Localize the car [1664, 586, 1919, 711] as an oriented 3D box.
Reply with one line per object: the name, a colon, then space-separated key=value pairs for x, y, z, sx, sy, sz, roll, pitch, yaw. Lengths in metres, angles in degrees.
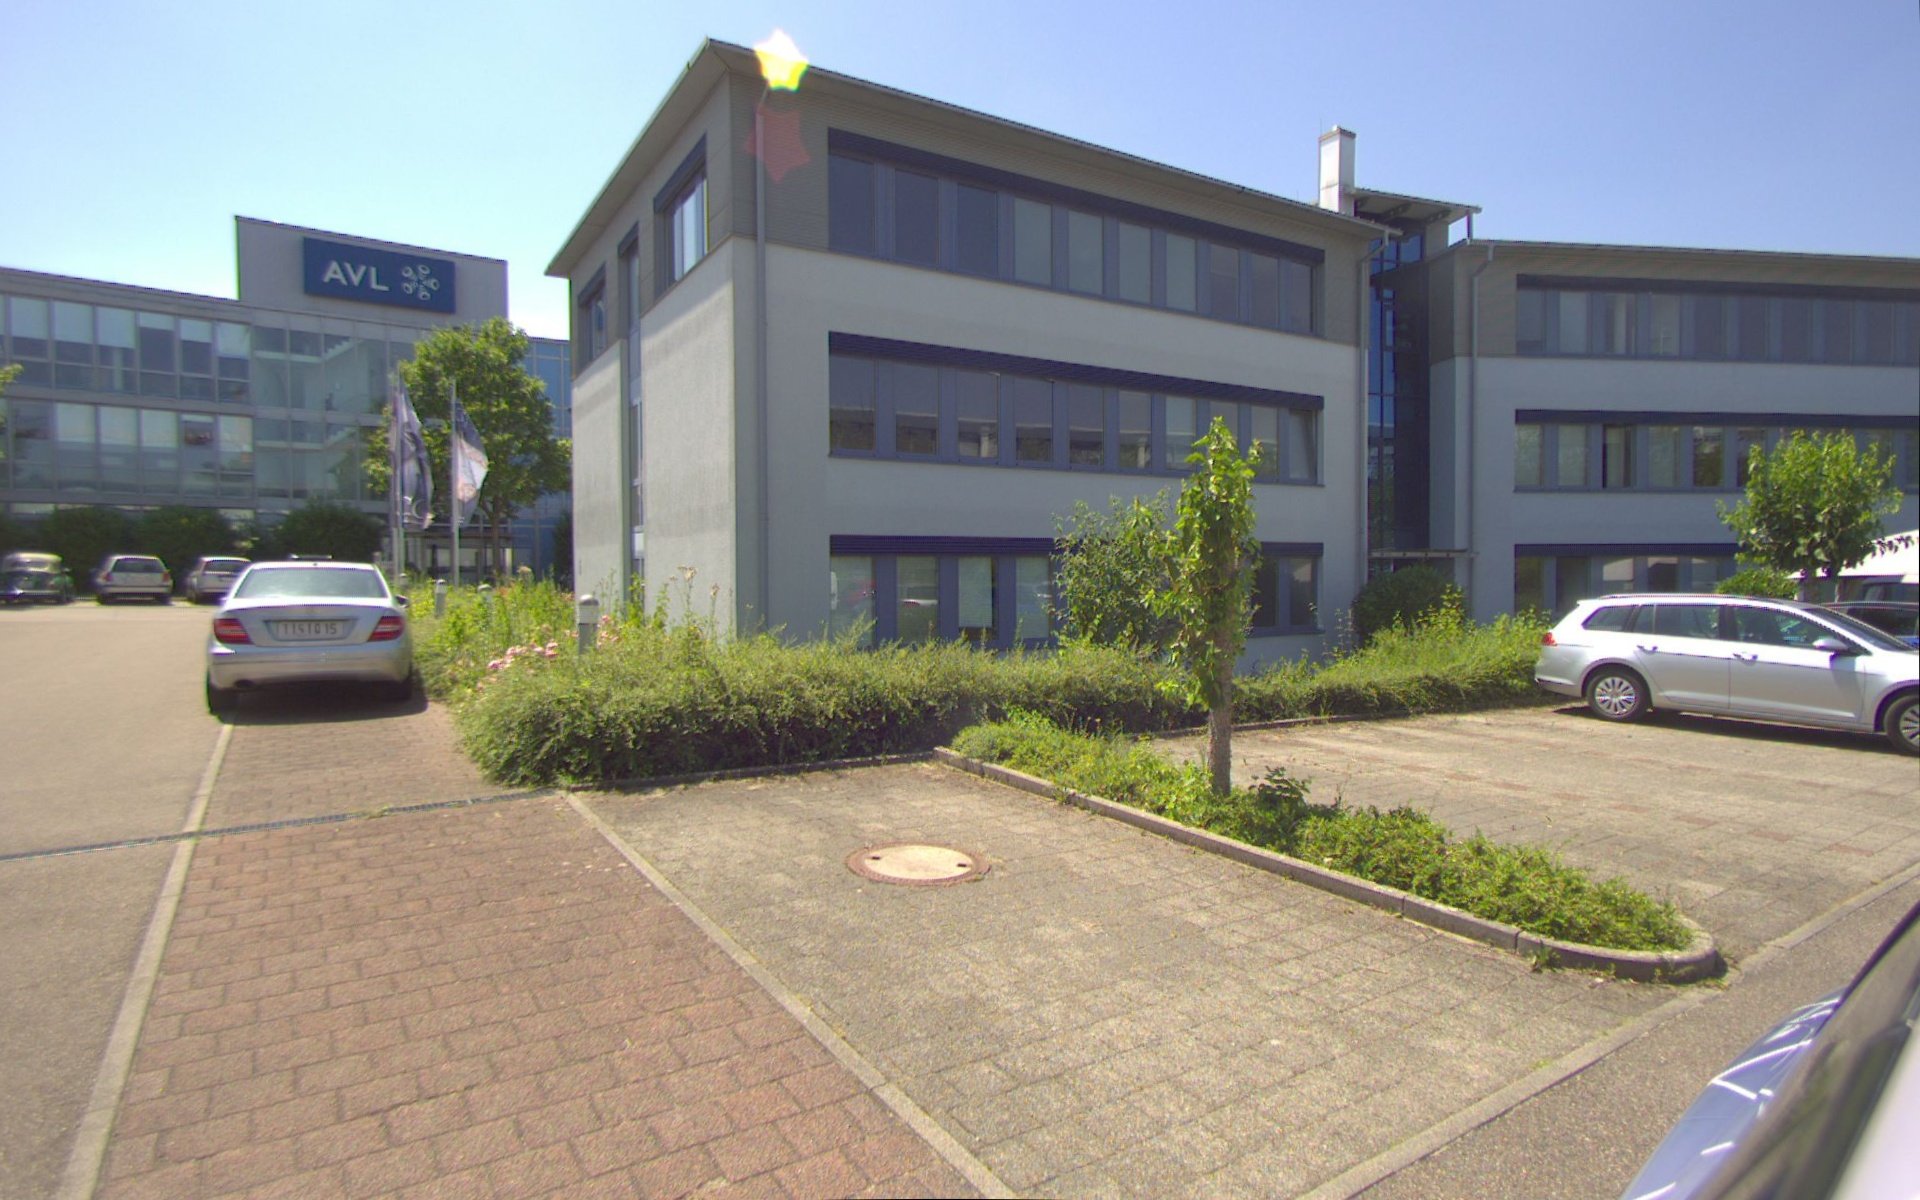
car: x=11.701 y=0.580 z=13.177 sx=1.621 sy=1.408 sz=3.828 roll=0 pitch=3 yaw=-35

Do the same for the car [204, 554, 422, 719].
car: x=-6.942 y=0.282 z=10.901 sx=1.696 sy=1.454 sz=3.718 roll=0 pitch=1 yaw=-33

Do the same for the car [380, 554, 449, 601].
car: x=-19.324 y=-0.787 z=35.768 sx=1.716 sy=1.538 sz=4.001 roll=0 pitch=1 yaw=-34

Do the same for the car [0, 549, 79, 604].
car: x=-27.359 y=-0.690 z=29.894 sx=1.717 sy=1.538 sz=3.998 roll=0 pitch=1 yaw=-37

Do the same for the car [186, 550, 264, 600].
car: x=-24.128 y=-0.817 z=33.155 sx=1.719 sy=1.538 sz=3.993 roll=0 pitch=1 yaw=-41

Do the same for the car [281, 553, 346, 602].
car: x=-21.889 y=-0.751 z=34.198 sx=1.716 sy=1.538 sz=4.001 roll=0 pitch=1 yaw=-34

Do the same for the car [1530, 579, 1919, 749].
car: x=8.951 y=0.578 z=10.934 sx=1.795 sy=1.515 sz=4.521 roll=0 pitch=2 yaw=-35

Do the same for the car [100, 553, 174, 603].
car: x=-25.467 y=-0.680 z=31.268 sx=1.645 sy=1.458 sz=3.993 roll=0 pitch=1 yaw=-41
